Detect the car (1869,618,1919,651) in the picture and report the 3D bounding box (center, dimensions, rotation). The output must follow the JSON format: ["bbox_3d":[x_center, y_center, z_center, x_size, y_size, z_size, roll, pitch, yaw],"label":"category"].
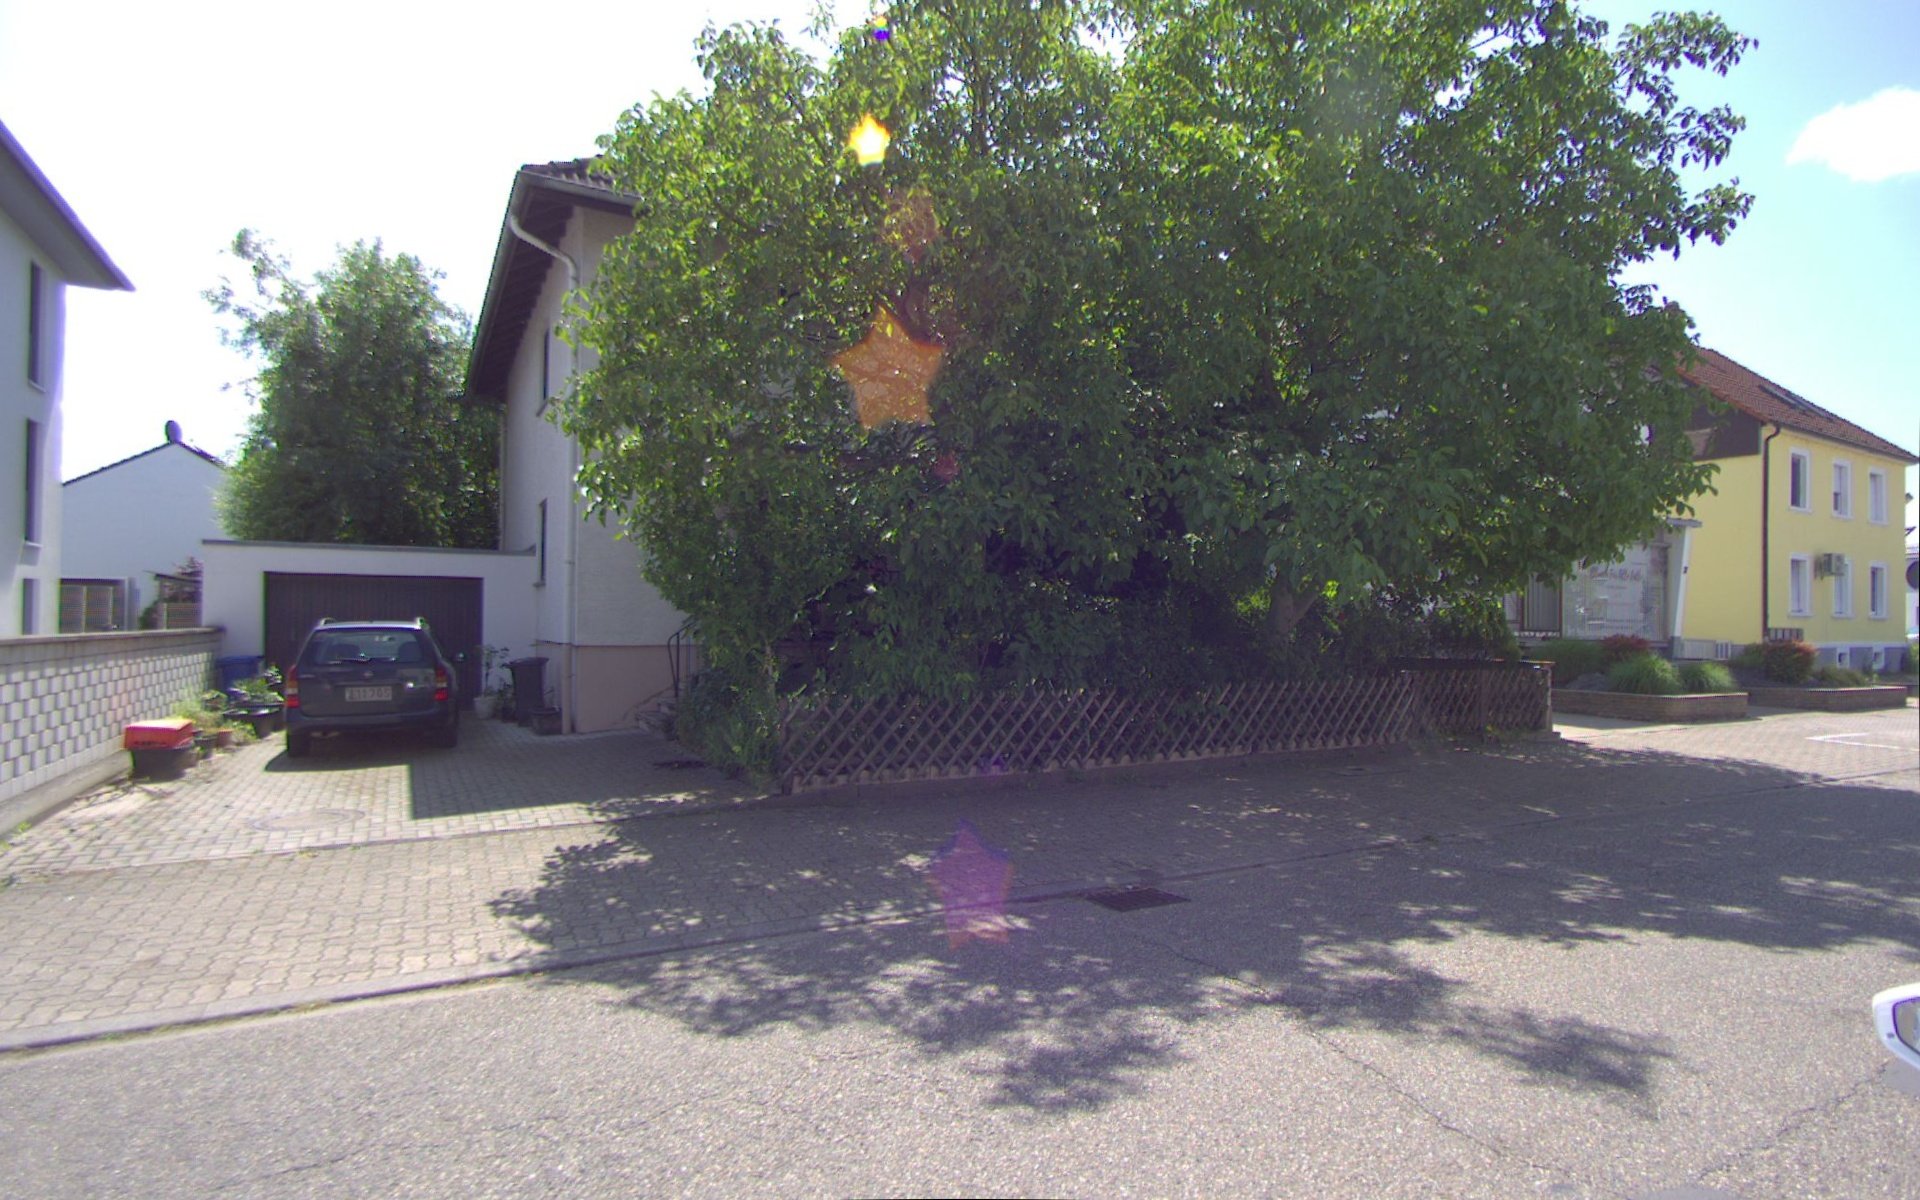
[{"bbox_3d":[49.522,1.847,51.401,4.171,1.508,1.748,4,3,4],"label":"car"}]

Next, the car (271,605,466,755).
[{"bbox_3d":[-7.038,0.843,12.293,1.770,1.512,3.899,0,-1,-27],"label":"car"}]

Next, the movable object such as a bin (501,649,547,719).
[{"bbox_3d":[-6.058,1.154,13.954,0.522,0.912,0.624,2,0,-28],"label":"movable object such as a bin"}]
